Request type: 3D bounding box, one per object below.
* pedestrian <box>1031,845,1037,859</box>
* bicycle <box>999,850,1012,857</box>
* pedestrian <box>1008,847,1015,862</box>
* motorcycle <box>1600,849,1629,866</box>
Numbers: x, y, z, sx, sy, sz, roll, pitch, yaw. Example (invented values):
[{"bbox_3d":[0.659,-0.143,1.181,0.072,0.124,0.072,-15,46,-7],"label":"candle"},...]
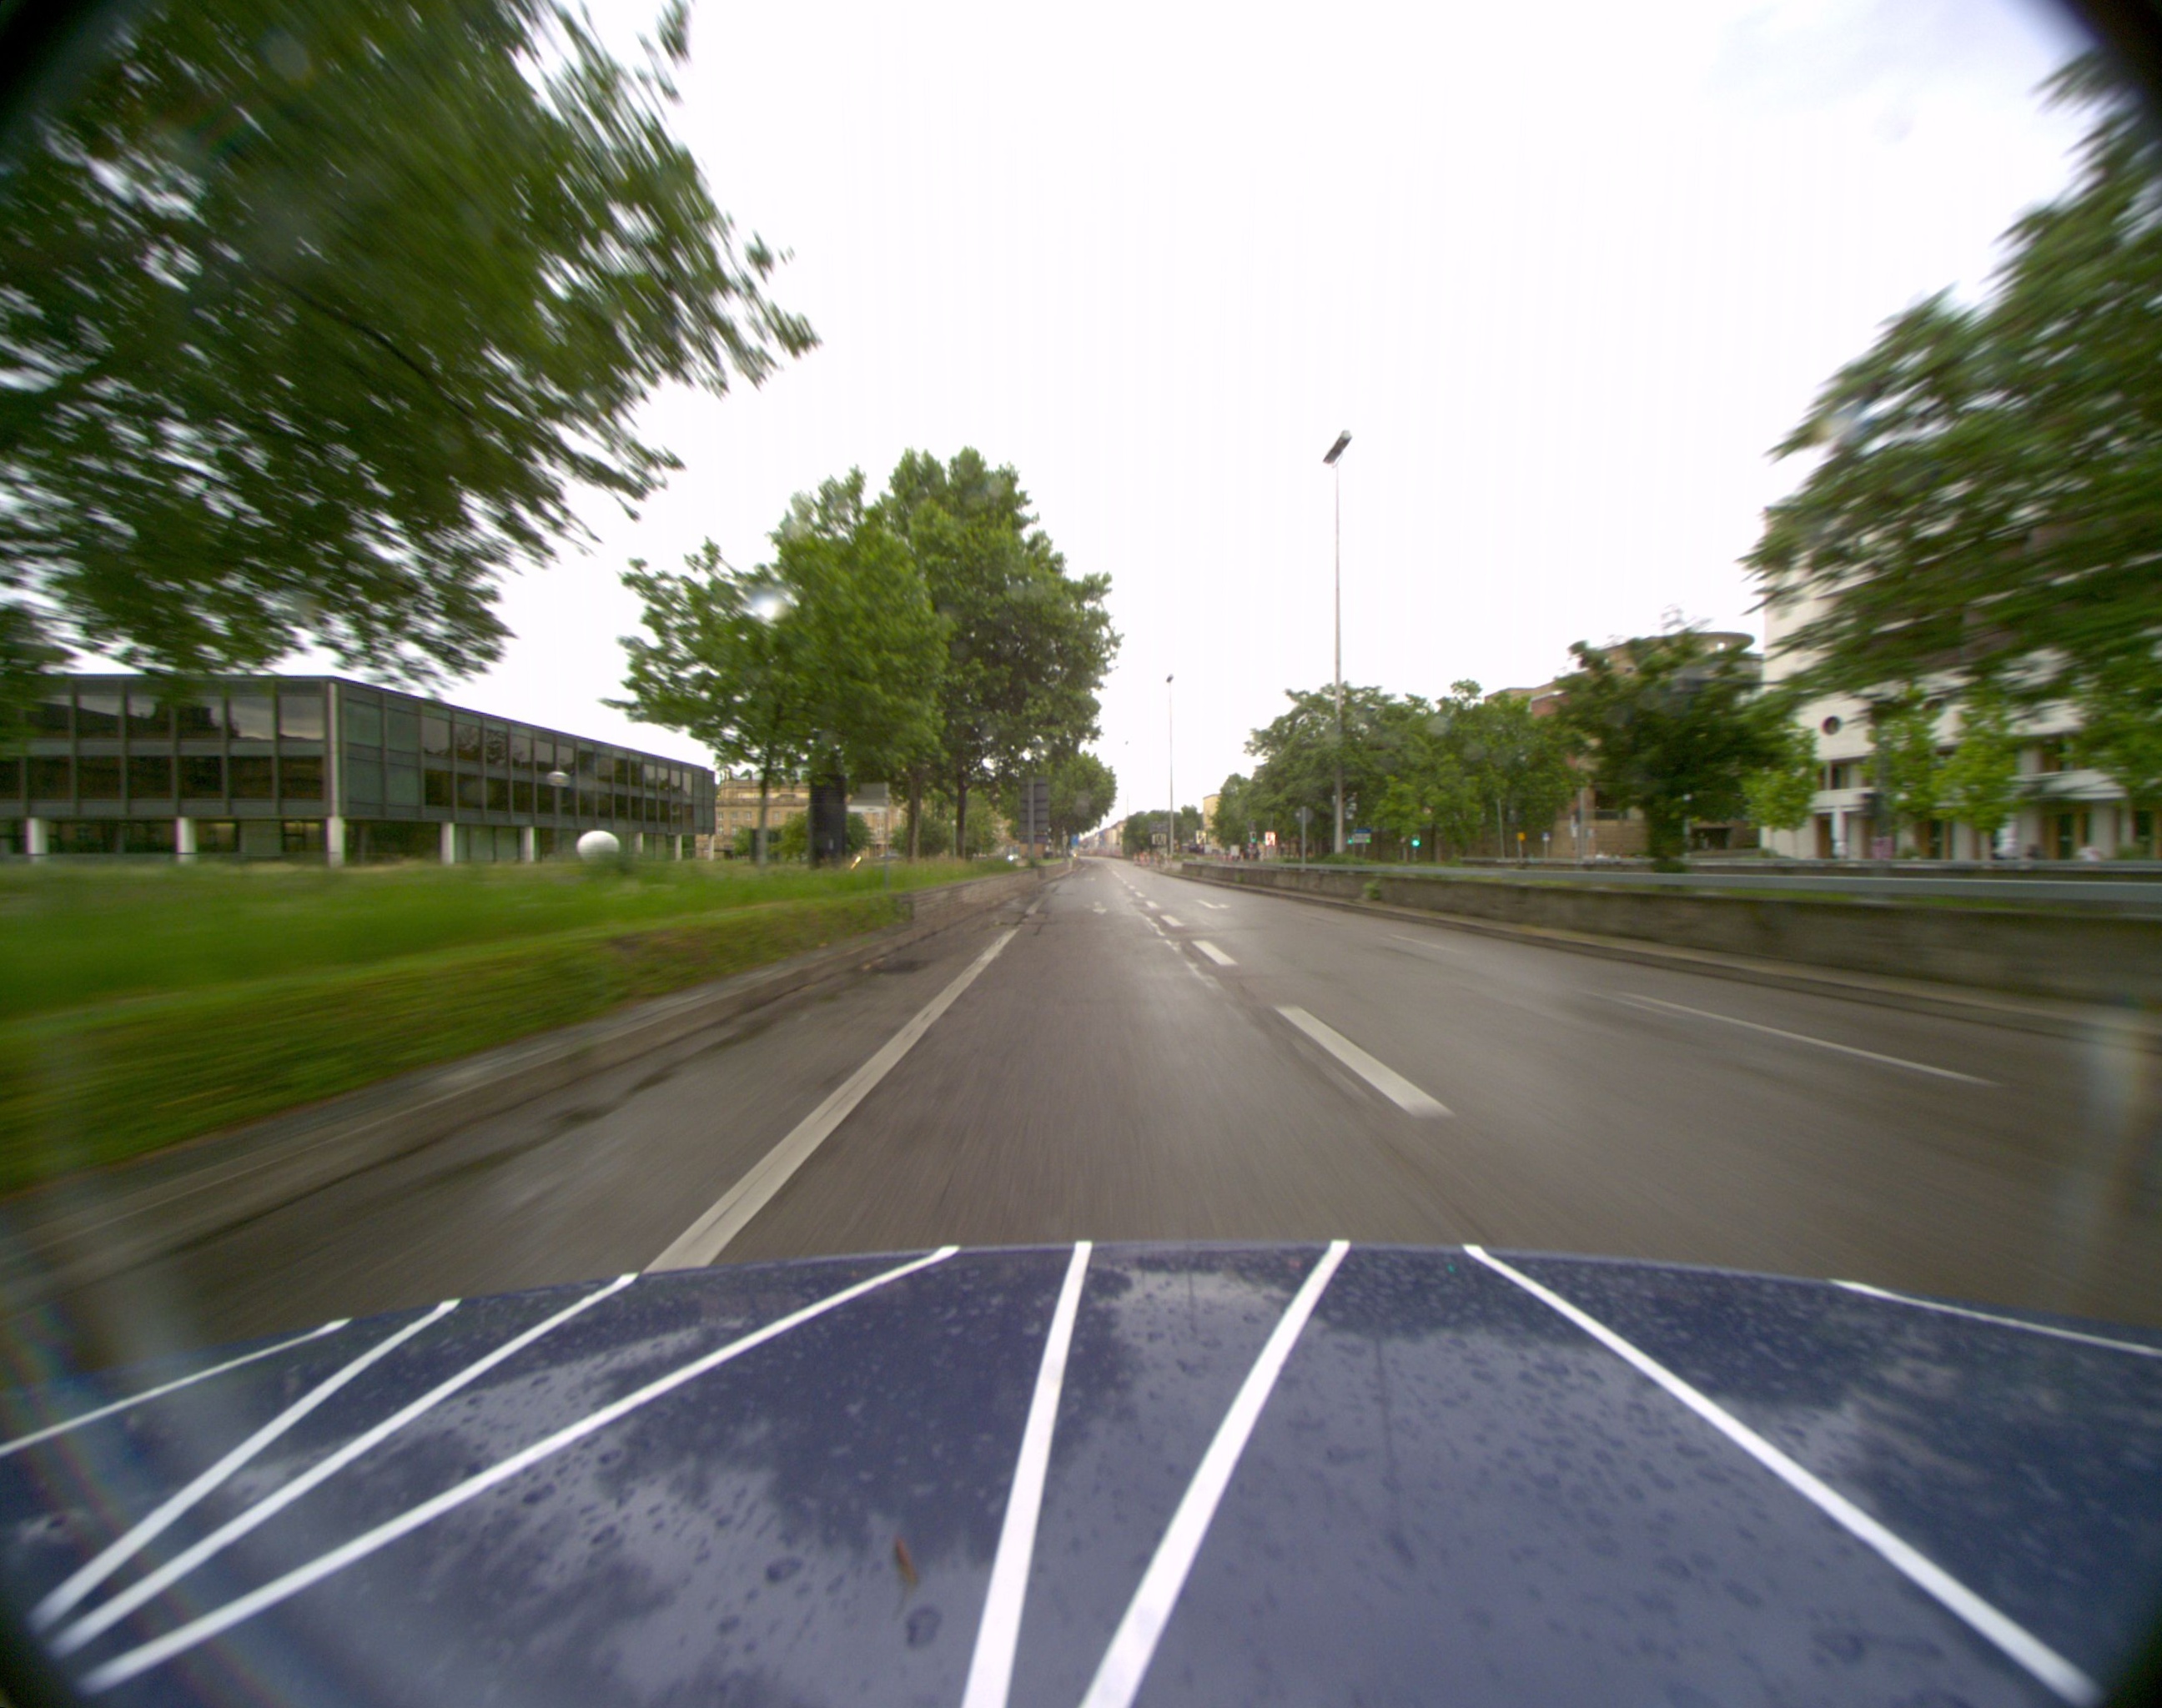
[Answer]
[{"bbox_3d":[-5.878,-0.223,94.966,0.594,1.764,0.587,-2,1,3],"label":"pedestrian"},{"bbox_3d":[-10.973,-0.088,110.643,1.758,1.059,0.827,-2,1,-20],"label":"bicycle"},{"bbox_3d":[-7.924,0.042,86.762,0.671,1.655,0.587,0,2,-16],"label":"pedestrian"},{"bbox_3d":[37.664,0.250,53.628,1.817,1.175,0.606,-2,1,-14],"label":"motorcycle"}]
